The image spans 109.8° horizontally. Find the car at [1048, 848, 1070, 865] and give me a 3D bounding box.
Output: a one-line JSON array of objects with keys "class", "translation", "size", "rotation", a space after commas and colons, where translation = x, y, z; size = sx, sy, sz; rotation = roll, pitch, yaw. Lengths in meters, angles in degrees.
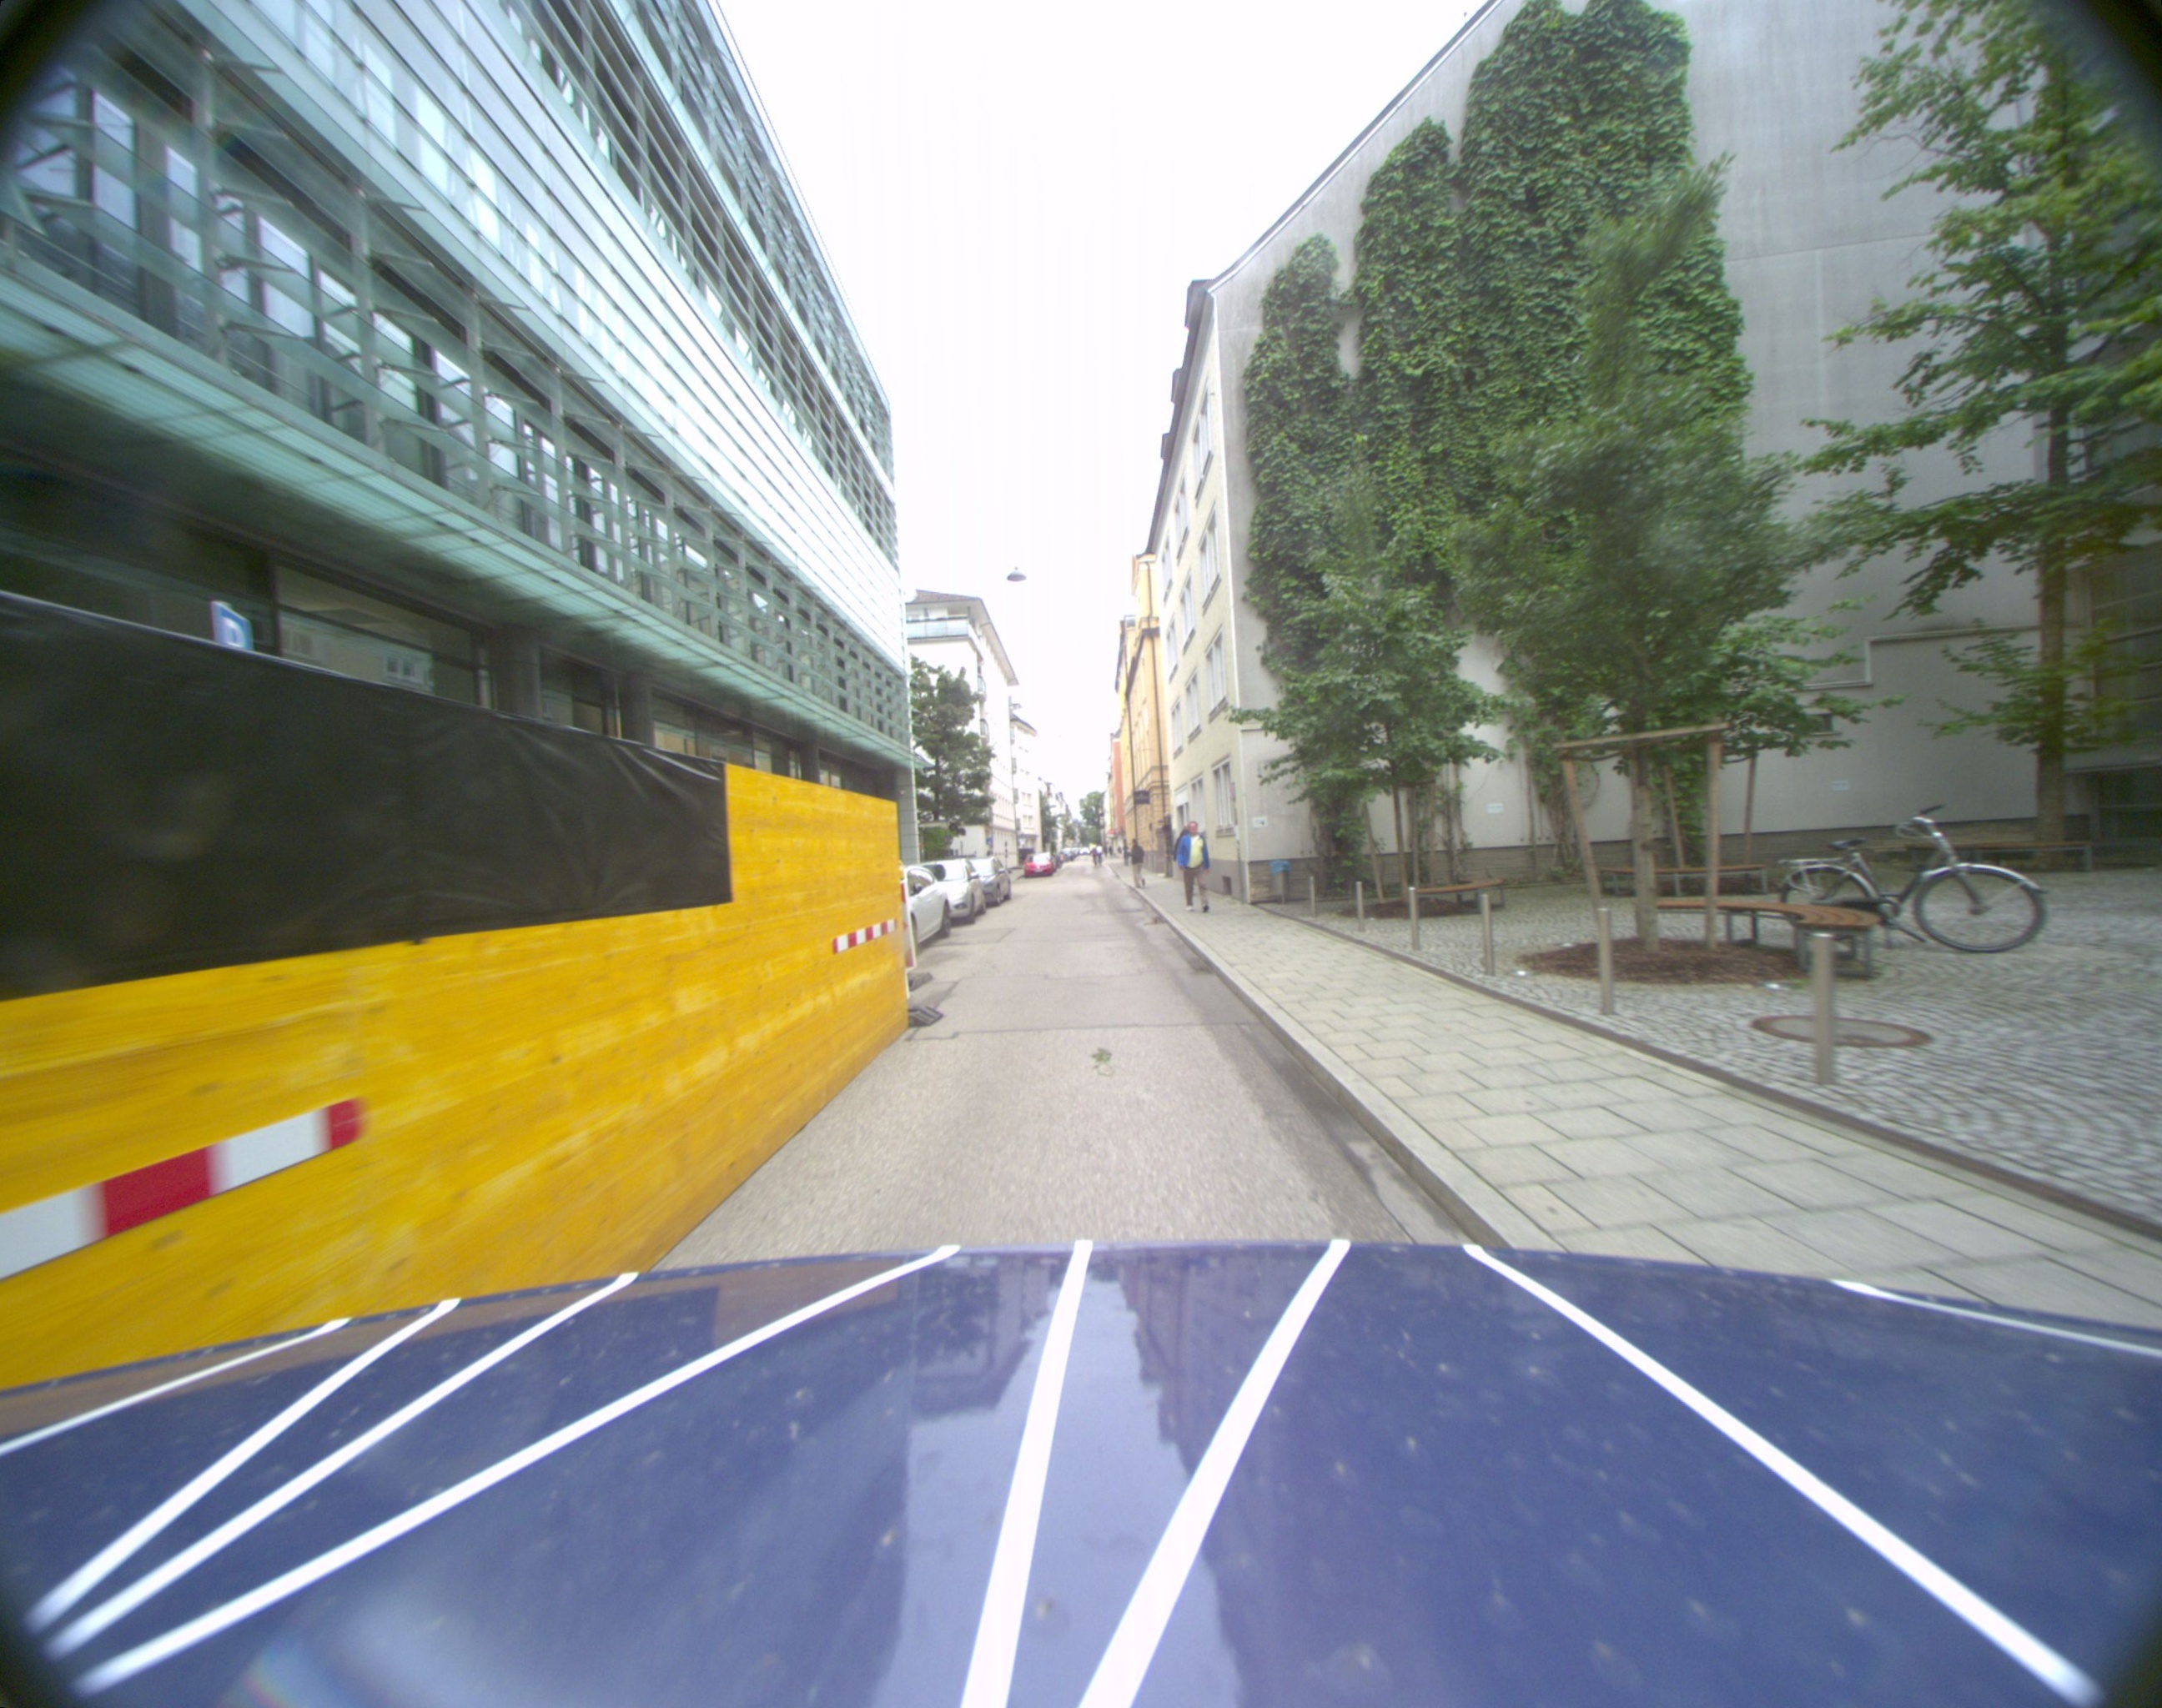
[{"class": "car", "translation": [-1.881, 0.195, 65.909], "size": [1.625, 1.259, 4.329], "rotation": [-4, 1, 1]}]

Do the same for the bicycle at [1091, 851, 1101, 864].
[{"class": "bicycle", "translation": [1.223, 0.296, 63.139], "size": [0.700, 0.977, 1.949], "rotation": [-4, 1, 0]}]

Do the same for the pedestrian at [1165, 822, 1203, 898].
[{"class": "pedestrian", "translation": [2.677, 0.155, 19.784], "size": [0.744, 1.892, 0.879], "rotation": [-5, 1, 1]}]

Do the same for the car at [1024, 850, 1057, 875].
[{"class": "car", "translation": [-2.570, 0.502, 48.929], "size": [1.809, 1.390, 3.999], "rotation": [-4, 1, 1]}]

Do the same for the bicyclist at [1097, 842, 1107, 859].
[{"class": "bicyclist", "translation": [1.812, -0.327, 64.923], "size": [0.718, 1.400, 0.965], "rotation": [-4, 1, 0]}]

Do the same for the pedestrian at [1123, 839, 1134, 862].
[{"class": "pedestrian", "translation": [3.559, -0.245, 56.742], "size": [0.700, 1.696, 0.768], "rotation": [-4, 1, 1]}]

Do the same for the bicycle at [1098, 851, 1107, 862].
[{"class": "bicycle", "translation": [1.849, 0.195, 65.026], "size": [0.700, 0.926, 1.694], "rotation": [-4, 1, 0]}]

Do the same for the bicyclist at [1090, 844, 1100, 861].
[{"class": "bicyclist", "translation": [1.191, -0.152, 63.449], "size": [0.700, 1.400, 0.768], "rotation": [-4, 1, 0]}]

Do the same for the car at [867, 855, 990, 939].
[{"class": "car", "translation": [-3.367, 0.877, 17.662], "size": [1.999, 1.478, 4.277], "rotation": [-5, 1, -2]}]

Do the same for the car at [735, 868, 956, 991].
[{"class": "car", "translation": [-3.482, 1.036, 12.343], "size": [1.998, 1.367, 4.658], "rotation": [-4, 1, 1]}]

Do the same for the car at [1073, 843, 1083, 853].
[{"class": "car", "translation": [-0.579, -1.260, 154.771], "size": [1.998, 1.844, 4.390], "rotation": [-4, 1, 1]}]

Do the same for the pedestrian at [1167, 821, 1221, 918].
[{"class": "pedestrian", "translation": [2.266, 0.305, 15.342], "size": [0.861, 1.834, 0.974], "rotation": [-4, 1, 3]}]

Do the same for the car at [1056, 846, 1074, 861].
[{"class": "car", "translation": [-1.819, -0.081, 88.488], "size": [1.793, 1.550, 3.999], "rotation": [-4, 1, 1]}]

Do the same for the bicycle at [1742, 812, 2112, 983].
[{"class": "bicycle", "translation": [7.143, 0.318, 6.597], "size": [0.714, 1.202, 1.996], "rotation": [-5, 1, -17]}]

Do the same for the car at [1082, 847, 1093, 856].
[{"class": "car", "translation": [1.195, -0.548, 146.696], "size": [1.998, 1.583, 4.374], "rotation": [-4, 1, 1]}]

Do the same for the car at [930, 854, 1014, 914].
[{"class": "car", "translation": [-3.160, 0.805, 22.846], "size": [1.877, 1.477, 4.277], "rotation": [-4, 1, -1]}]

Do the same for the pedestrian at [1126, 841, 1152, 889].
[{"class": "pedestrian", "translation": [1.942, 0.367, 25.522], "size": [0.711, 1.542, 0.776], "rotation": [-5, 1, -1]}]
